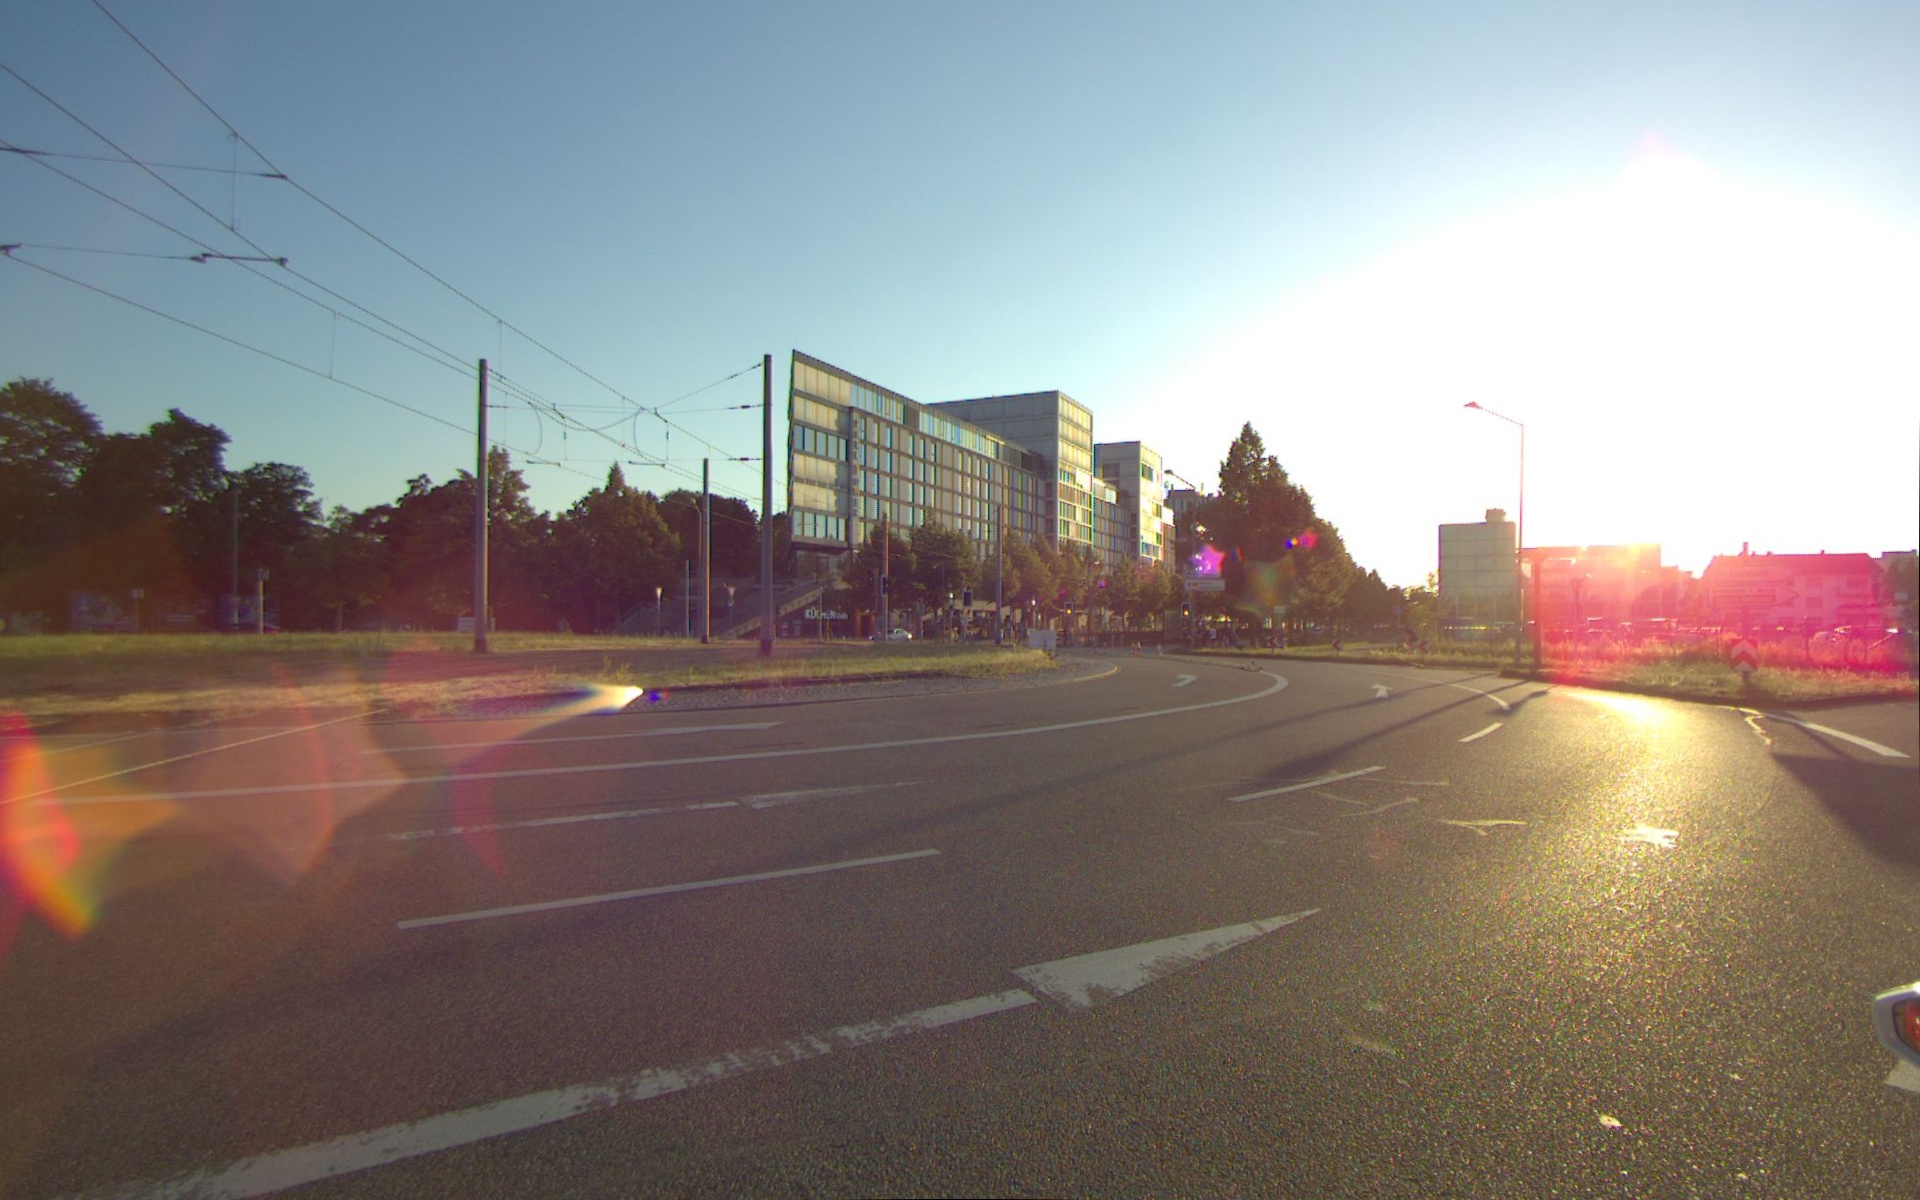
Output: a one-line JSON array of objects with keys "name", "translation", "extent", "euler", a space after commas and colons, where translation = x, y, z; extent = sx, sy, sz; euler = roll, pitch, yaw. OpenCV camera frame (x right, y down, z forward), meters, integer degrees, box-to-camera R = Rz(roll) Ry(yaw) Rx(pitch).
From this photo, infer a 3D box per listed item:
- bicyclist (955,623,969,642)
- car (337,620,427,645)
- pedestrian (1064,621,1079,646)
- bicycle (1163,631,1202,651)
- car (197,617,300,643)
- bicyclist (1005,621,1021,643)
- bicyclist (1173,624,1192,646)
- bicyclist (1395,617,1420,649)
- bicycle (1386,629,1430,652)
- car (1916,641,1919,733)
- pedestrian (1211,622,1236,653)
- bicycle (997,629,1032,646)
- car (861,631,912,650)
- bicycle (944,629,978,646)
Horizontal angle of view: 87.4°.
[{"name": "bicyclist", "translation": [0.142, 2.381, 73.419], "extent": [0.862, 1.411, 0.755], "euler": [0, -1, 17]}, {"name": "car", "translation": [-34.642, 1.945, 60.344], "extent": [4.241, 1.451, 1.942], "euler": [0, -1, -8]}, {"name": "pedestrian", "translation": [8.081, 2.430, 72.861], "extent": [0.871, 1.730, 0.794], "euler": [0, -1, 20]}, {"name": "bicycle", "translation": [14.145, 2.589, 63.850], "extent": [2.376, 1.182, 0.750], "euler": [-1, -2, 44]}, {"name": "car", "translation": [-41.979, 1.757, 59.355], "extent": [4.512, 1.451, 1.941], "euler": [0, -1, -10]}, {"name": "bicyclist", "translation": [3.805, 2.271, 72.005], "extent": [0.959, 1.545, 0.755], "euler": [0, -1, 14]}, {"name": "bicyclist", "translation": [14.145, 2.214, 63.833], "extent": [0.965, 1.412, 0.750], "euler": [0, -1, 43]}, {"name": "bicyclist", "translation": [23.136, 1.709, 51.960], "extent": [0.742, 1.634, 0.975], "euler": [1, -1, -15]}, {"name": "bicycle", "translation": [23.138, 2.080, 51.978], "extent": [0.742, 1.182, 2.402], "euler": [1, -1, -15]}, {"name": "car", "translation": [13.311, 1.156, 12.267], "extent": [1.927, 1.446, 4.411], "euler": [3, 0, 39]}, {"name": "pedestrian", "translation": [16.243, 2.311, 61.892], "extent": [0.972, 1.851, 1.147], "euler": [2, -1, -42]}, {"name": "bicycle", "translation": [3.913, 2.697, 71.941], "extent": [2.361, 1.182, 0.755], "euler": [0, -1, 14]}, {"name": "car", "translation": [-6.345, 3.469, 87.492], "extent": [1.964, 1.565, 5.195], "euler": [0, -2, 28]}, {"name": "bicycle", "translation": [0.078, 2.722, 73.437], "extent": [2.361, 1.182, 0.755], "euler": [0, -1, 17]}]
